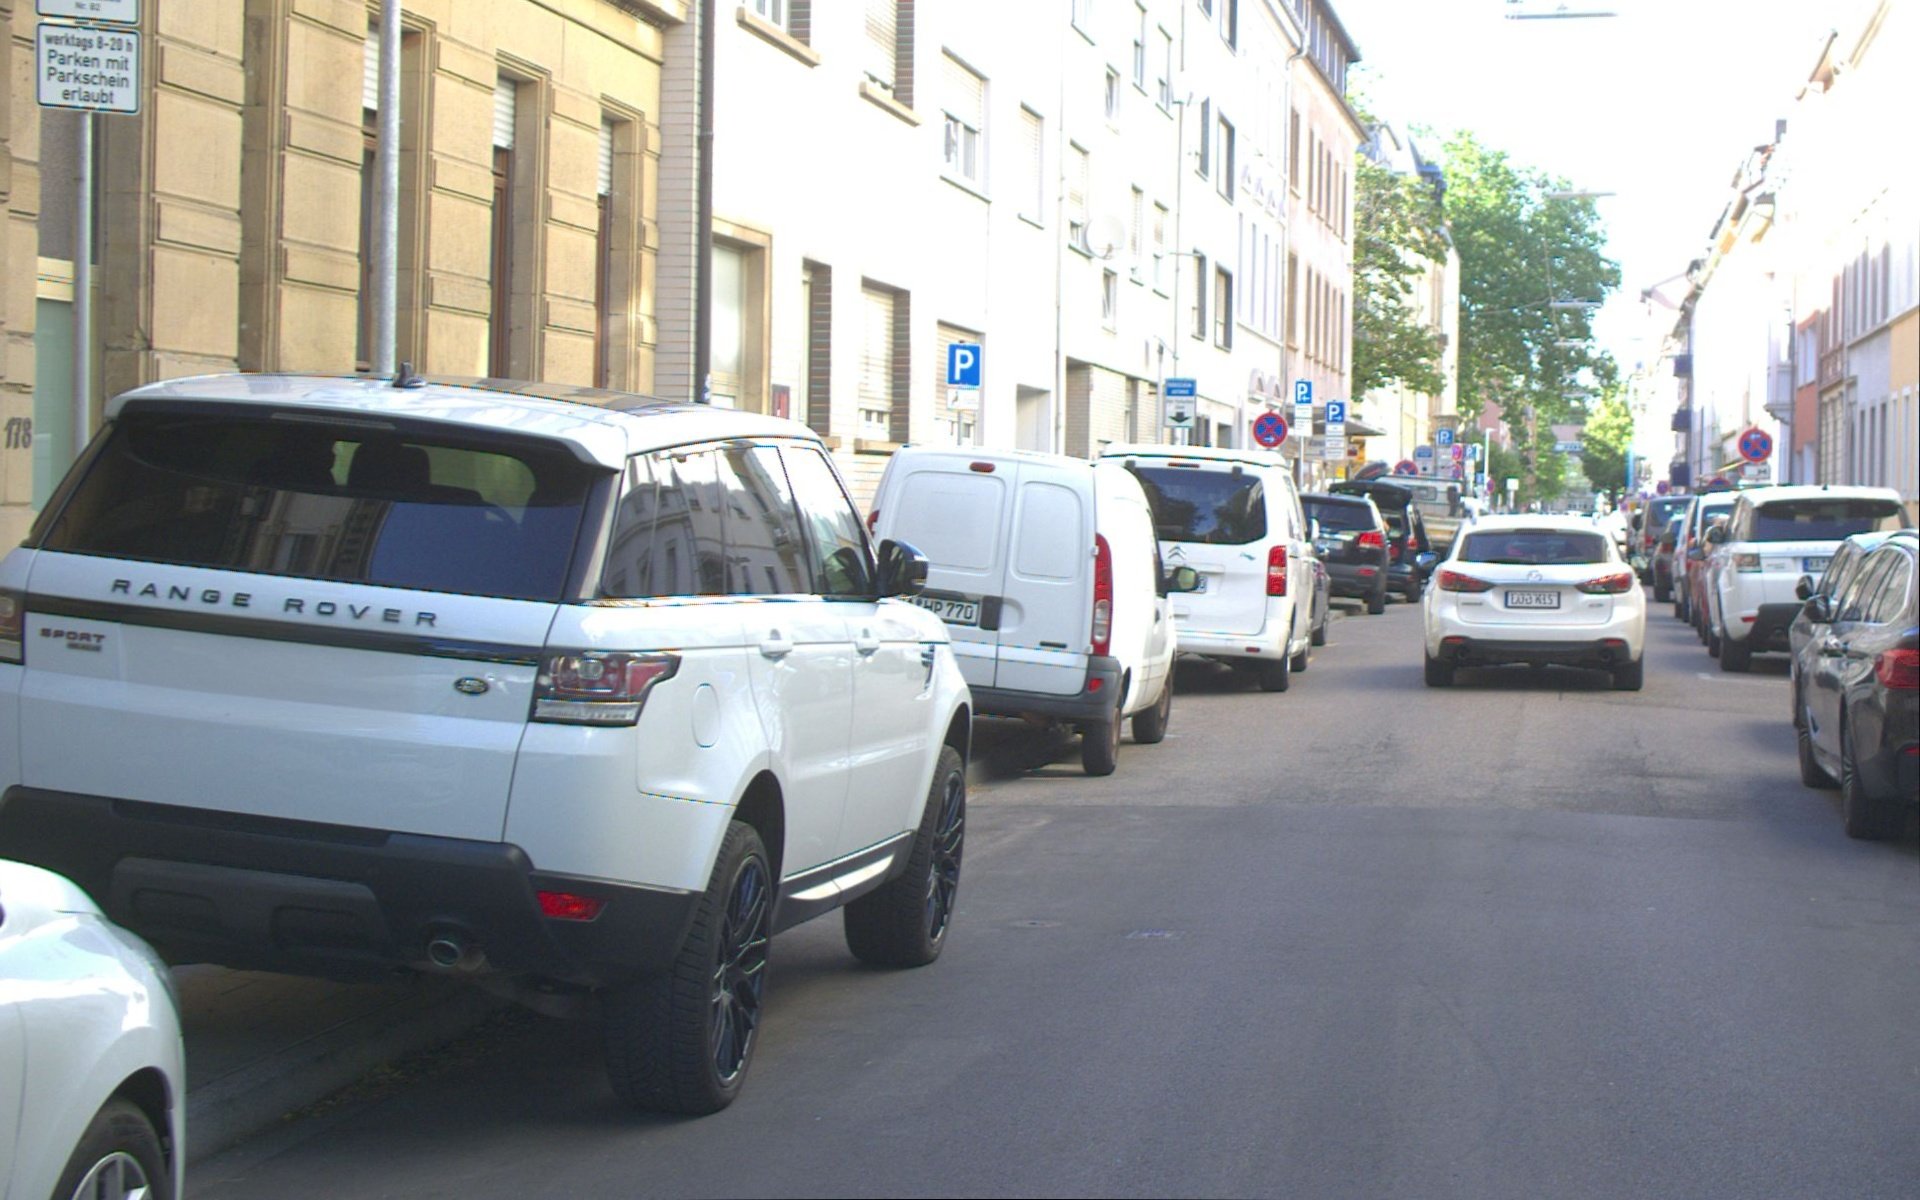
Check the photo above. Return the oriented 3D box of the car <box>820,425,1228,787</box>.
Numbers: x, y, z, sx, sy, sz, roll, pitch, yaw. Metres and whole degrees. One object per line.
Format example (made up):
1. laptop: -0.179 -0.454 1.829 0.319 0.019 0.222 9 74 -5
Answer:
1. car: 0.501 -0.042 21.130 1.745 1.869 4.088 5 3 10

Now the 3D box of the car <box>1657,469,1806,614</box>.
1. car: 10.954 -0.844 49.042 1.782 1.955 4.334 1 1 9

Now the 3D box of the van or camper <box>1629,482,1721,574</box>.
1. van or camper: 16.299 -1.646 78.496 1.775 2.029 4.569 0 1 8

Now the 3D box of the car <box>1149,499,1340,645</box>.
1. car: 3.152 -0.342 37.396 1.707 1.445 4.300 2 2 9

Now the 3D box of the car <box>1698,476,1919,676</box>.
1. car: 8.347 -0.304 33.615 2.006 1.777 4.937 1 2 10

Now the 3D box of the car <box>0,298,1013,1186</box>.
1. car: -1.231 0.251 10.214 2.023 2.006 4.541 1 2 10

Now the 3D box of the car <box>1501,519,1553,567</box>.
1. car: 19.599 -1.977 118.744 1.625 1.591 3.579 2 2 11

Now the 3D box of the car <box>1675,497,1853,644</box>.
1. car: 9.193 -0.384 39.556 1.743 1.563 4.031 1 2 10

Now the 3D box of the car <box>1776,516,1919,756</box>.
1. car: 6.638 0.209 23.539 1.747 1.443 3.868 3 3 10

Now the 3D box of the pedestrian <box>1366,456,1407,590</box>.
1. pedestrian: 7.128 -1.285 57.419 0.619 2.221 0.688 1 0 11

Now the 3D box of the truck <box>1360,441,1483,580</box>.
1. truck: 8.986 -1.696 67.434 2.157 2.581 6.248 1 0 6

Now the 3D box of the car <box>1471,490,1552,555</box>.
1. car: 12.519 -1.756 78.091 1.759 1.411 3.999 -1 1 9

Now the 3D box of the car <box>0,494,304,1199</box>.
1. car: -2.426 0.596 4.336 1.867 1.556 3.941 3 1 9

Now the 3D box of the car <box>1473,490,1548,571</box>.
1. car: 13.159 -1.681 82.306 1.647 1.861 3.999 1 2 8

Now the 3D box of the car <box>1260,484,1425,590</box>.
1. car: 6.729 -1.120 60.006 2.442 1.700 5.240 2 2 10

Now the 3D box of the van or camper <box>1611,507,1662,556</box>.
1. van or camper: 27.606 -2.775 140.428 1.994 1.919 3.998 1 0 11

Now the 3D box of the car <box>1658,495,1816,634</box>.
1. car: 9.911 -0.490 44.045 1.581 1.626 3.681 3 2 8

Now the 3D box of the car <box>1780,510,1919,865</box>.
1. car: 5.272 0.369 17.428 1.816 1.514 4.726 3 3 10

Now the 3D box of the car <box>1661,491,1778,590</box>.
1. car: 12.949 -1.053 58.762 1.740 1.571 4.376 1 2 10

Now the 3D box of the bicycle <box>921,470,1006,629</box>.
1. bicycle: 0.042 -0.509 33.985 0.557 1.504 1.800 3 2 7

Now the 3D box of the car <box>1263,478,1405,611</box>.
1. car: 5.576 -0.867 51.074 1.880 1.749 4.542 4 3 7

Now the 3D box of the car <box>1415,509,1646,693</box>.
1. car: 5.004 -0.021 29.788 1.835 1.481 4.055 0 1 11

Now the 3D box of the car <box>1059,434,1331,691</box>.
1. car: 2.128 -0.392 29.901 1.895 1.951 4.780 3 3 8
